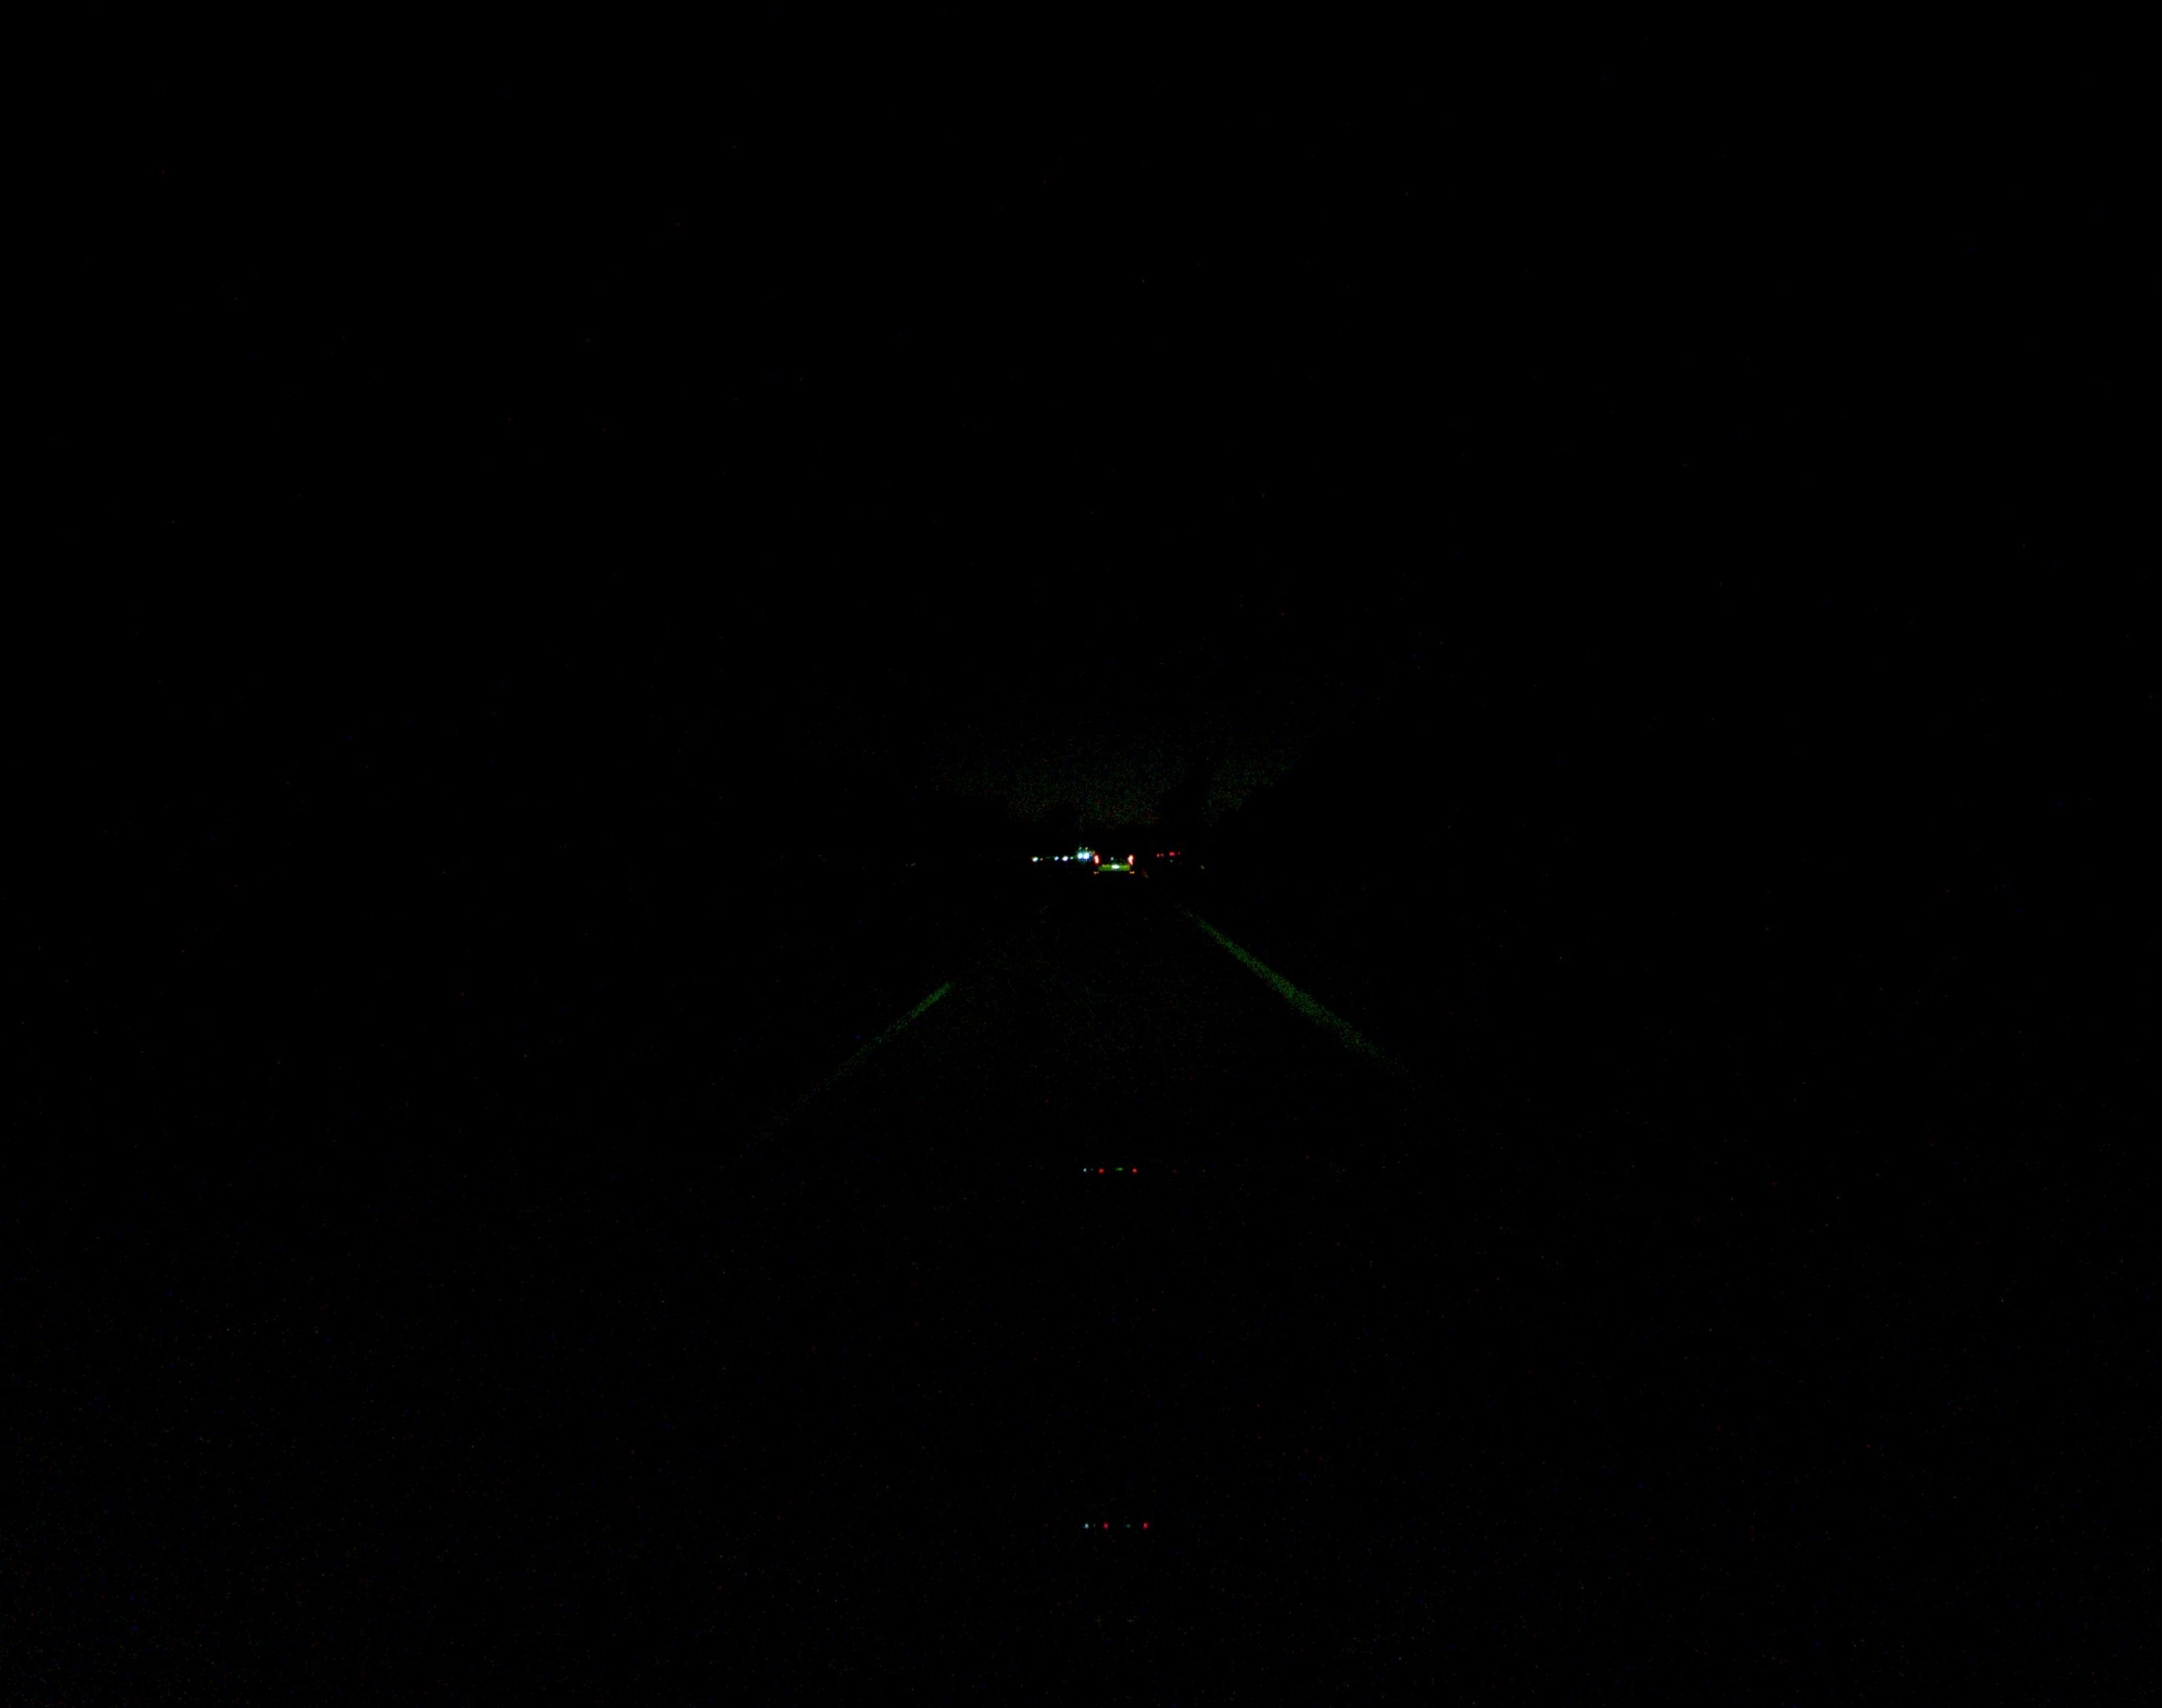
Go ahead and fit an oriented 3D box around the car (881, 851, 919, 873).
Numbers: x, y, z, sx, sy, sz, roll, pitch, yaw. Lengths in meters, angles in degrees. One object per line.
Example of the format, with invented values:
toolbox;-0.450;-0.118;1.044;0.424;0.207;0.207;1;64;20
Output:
car;-15.133;0.682;68.405;1.985;1.786;4.402;-1;0;3

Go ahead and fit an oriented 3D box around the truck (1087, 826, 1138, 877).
truck;1.826;-0.114;46.897;2.620;2.624;8.689;-1;0;2

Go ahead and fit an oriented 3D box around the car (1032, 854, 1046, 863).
car;-8.236;0.940;159.951;1.983;1.650;4.407;-1;0;7

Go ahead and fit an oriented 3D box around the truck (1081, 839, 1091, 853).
truck;1.568;-2.586;256.769;2.700;4.199;5.430;-1;-1;7
